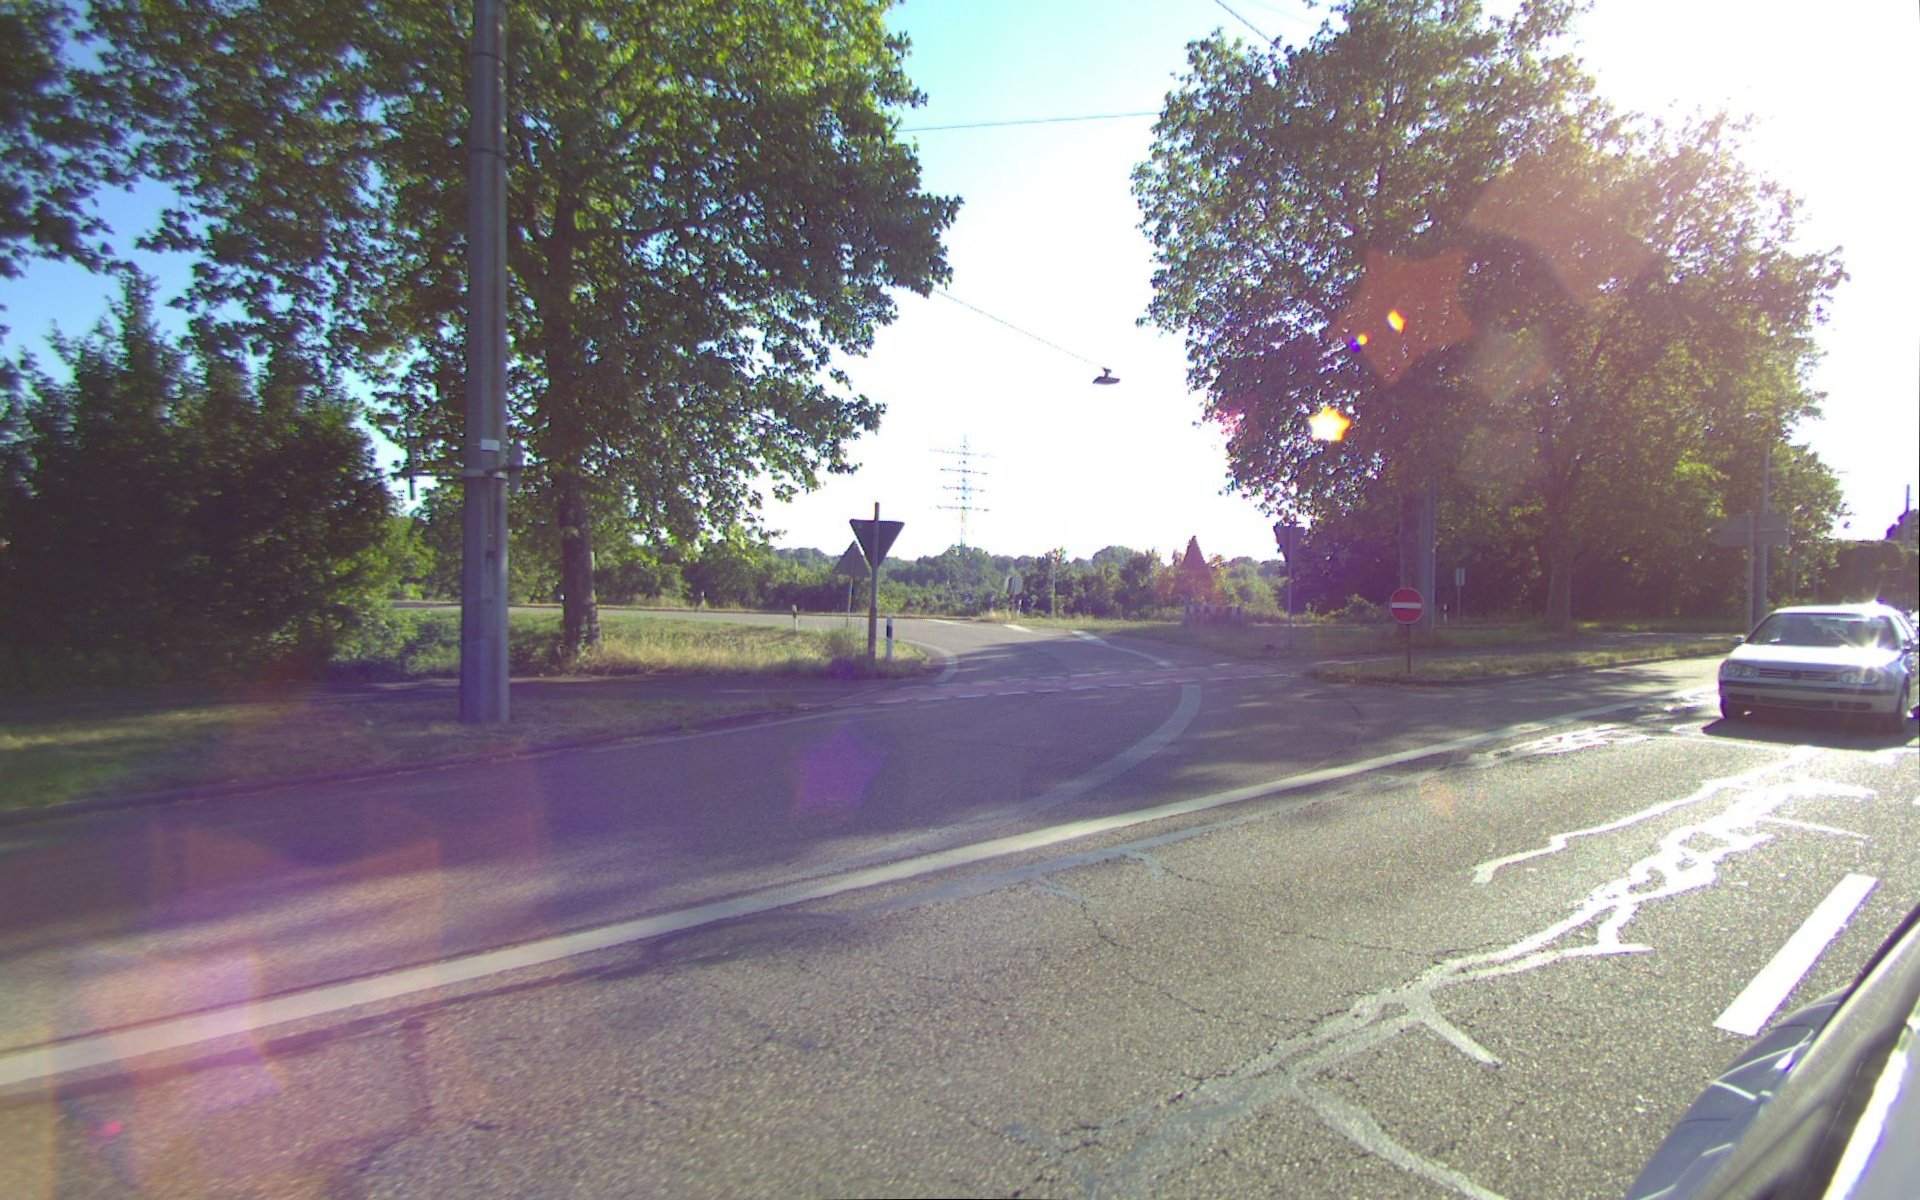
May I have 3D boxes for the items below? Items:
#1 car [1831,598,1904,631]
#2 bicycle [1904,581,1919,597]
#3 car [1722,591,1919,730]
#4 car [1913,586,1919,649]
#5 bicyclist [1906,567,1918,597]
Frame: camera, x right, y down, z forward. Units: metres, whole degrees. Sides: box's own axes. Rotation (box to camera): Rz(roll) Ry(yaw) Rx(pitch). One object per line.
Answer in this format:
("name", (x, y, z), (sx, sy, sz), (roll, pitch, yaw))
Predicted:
("car", (43.957, 0.653, 48.994), (4.575, 1.461, 1.881), (-1, 1, -39))
("bicycle", (65.773, -0.752, 69.949), (1.936, 1.074, 0.528), (1, -1, -40))
("car", (11.227, 0.630, 12.804), (3.931, 1.463, 1.694), (-1, 1, -40))
("car", (27.126, 0.450, 27.046), (4.338, 1.620, 1.880), (-1, 1, -40))
("bicyclist", (65.936, -1.240, 70.090), (0.716, 2.043, 0.528), (0, -1, -40))
